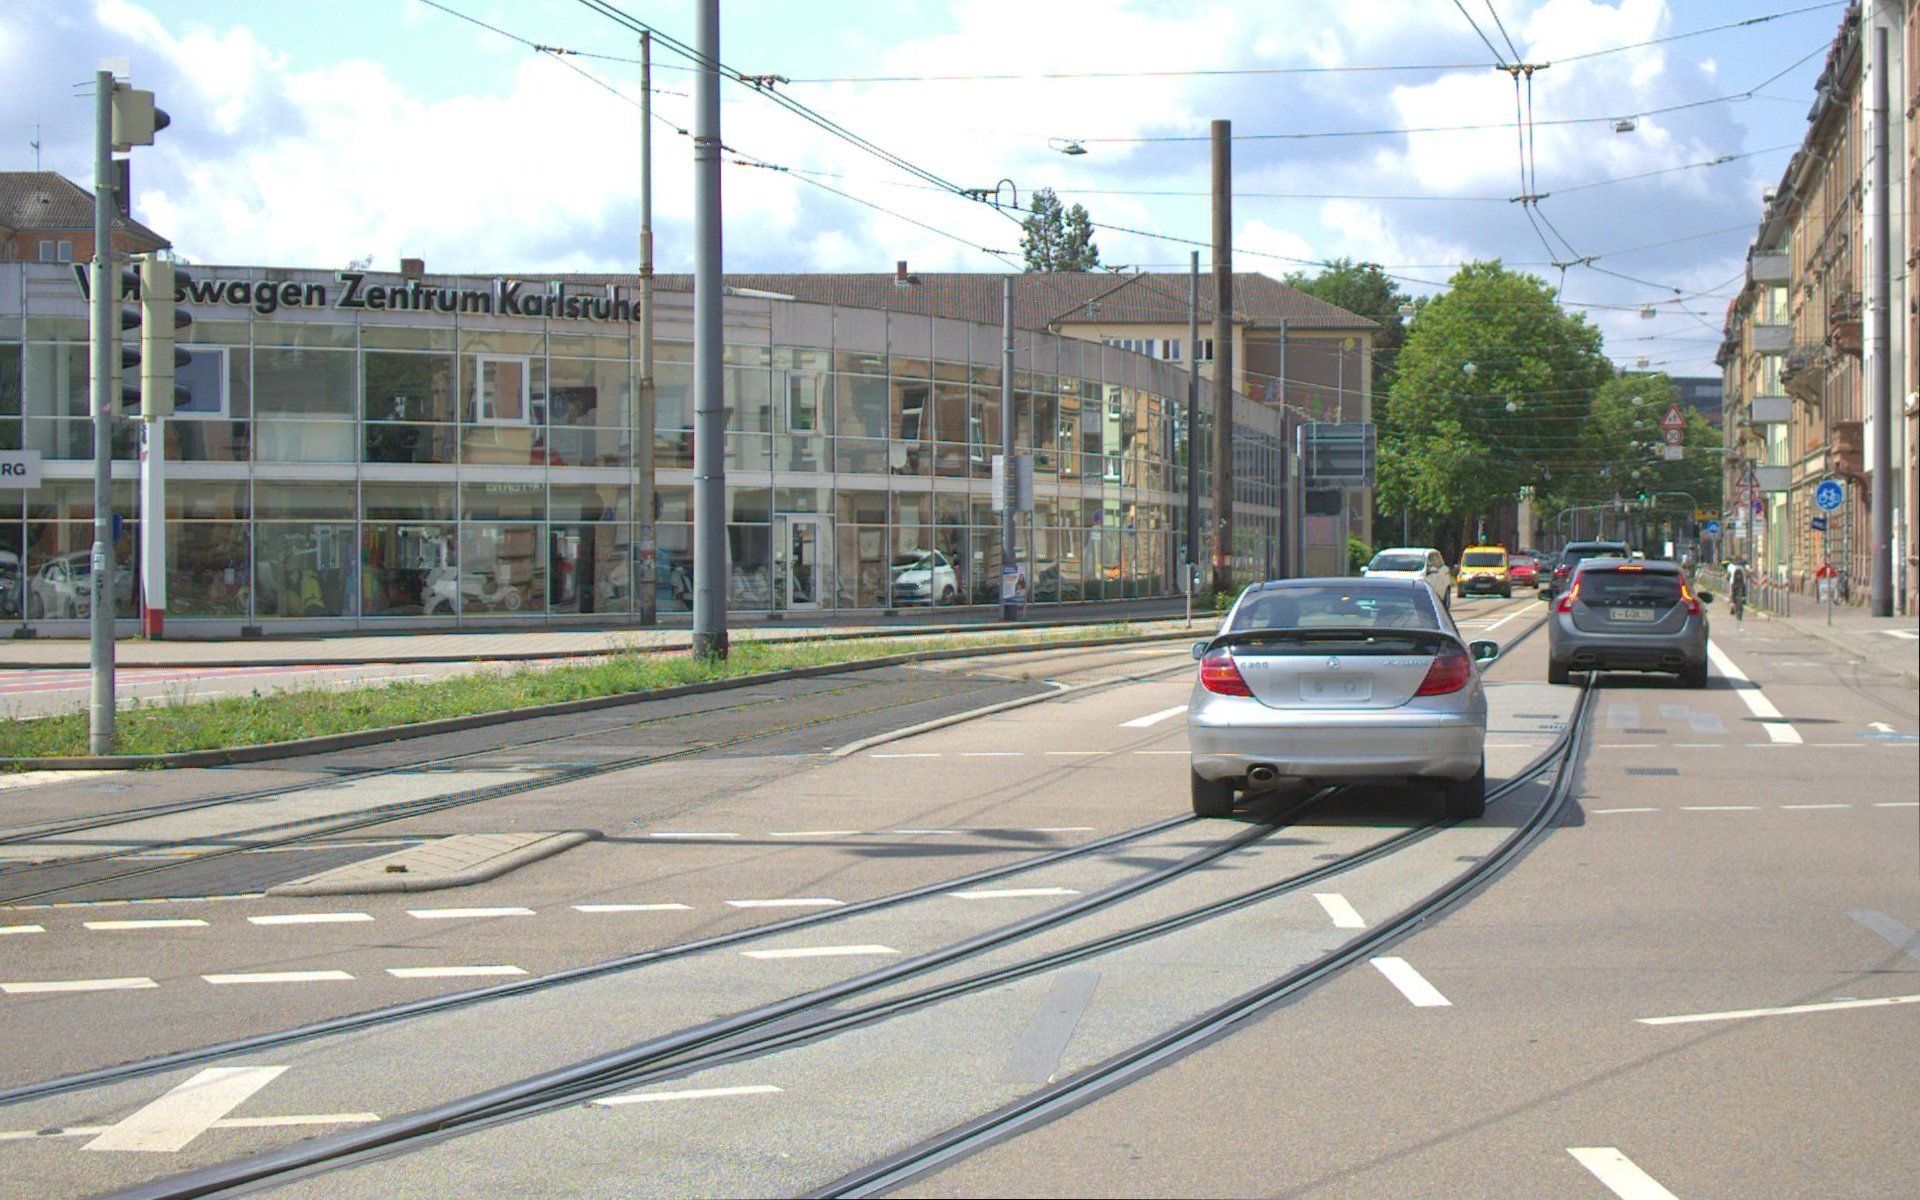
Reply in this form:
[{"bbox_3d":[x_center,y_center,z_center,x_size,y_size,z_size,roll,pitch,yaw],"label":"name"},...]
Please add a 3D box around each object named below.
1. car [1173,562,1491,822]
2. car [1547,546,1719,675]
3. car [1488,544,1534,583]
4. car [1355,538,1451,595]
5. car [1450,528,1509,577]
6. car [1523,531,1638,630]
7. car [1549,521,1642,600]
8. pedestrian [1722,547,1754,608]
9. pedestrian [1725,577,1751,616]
[{"bbox_3d":[2.375,0.483,21.136,1.742,1.387,4.178,0,1,9],"label":"car"},{"bbox_3d":[7.867,0.089,40.445,1.882,1.414,3.955,0,1,10],"label":"car"},{"bbox_3d":[24.546,-1.619,153.080,1.882,1.687,3.955,0,1,11],"label":"car"},{"bbox_3d":[11.579,-0.891,89.679,1.882,1.414,3.954,0,1,16],"label":"car"},{"bbox_3d":[18.076,-1.667,119.493,1.882,1.687,3.955,0,1,11],"label":"car"},{"bbox_3d":[10.731,-0.367,59.471,1.882,1.636,3.955,0,1,10],"label":"car"},{"bbox_3d":[13.497,-0.863,73.063,1.882,1.636,3.955,0,1,10],"label":"car"},{"bbox_3d":[18.586,-0.534,82.130,0.692,1.452,0.679,1,0,10],"label":"pedestrian"},{"bbox_3d":[18.547,-0.076,81.958,0.525,0.903,1.560,1,0,10],"label":"pedestrian"}]
